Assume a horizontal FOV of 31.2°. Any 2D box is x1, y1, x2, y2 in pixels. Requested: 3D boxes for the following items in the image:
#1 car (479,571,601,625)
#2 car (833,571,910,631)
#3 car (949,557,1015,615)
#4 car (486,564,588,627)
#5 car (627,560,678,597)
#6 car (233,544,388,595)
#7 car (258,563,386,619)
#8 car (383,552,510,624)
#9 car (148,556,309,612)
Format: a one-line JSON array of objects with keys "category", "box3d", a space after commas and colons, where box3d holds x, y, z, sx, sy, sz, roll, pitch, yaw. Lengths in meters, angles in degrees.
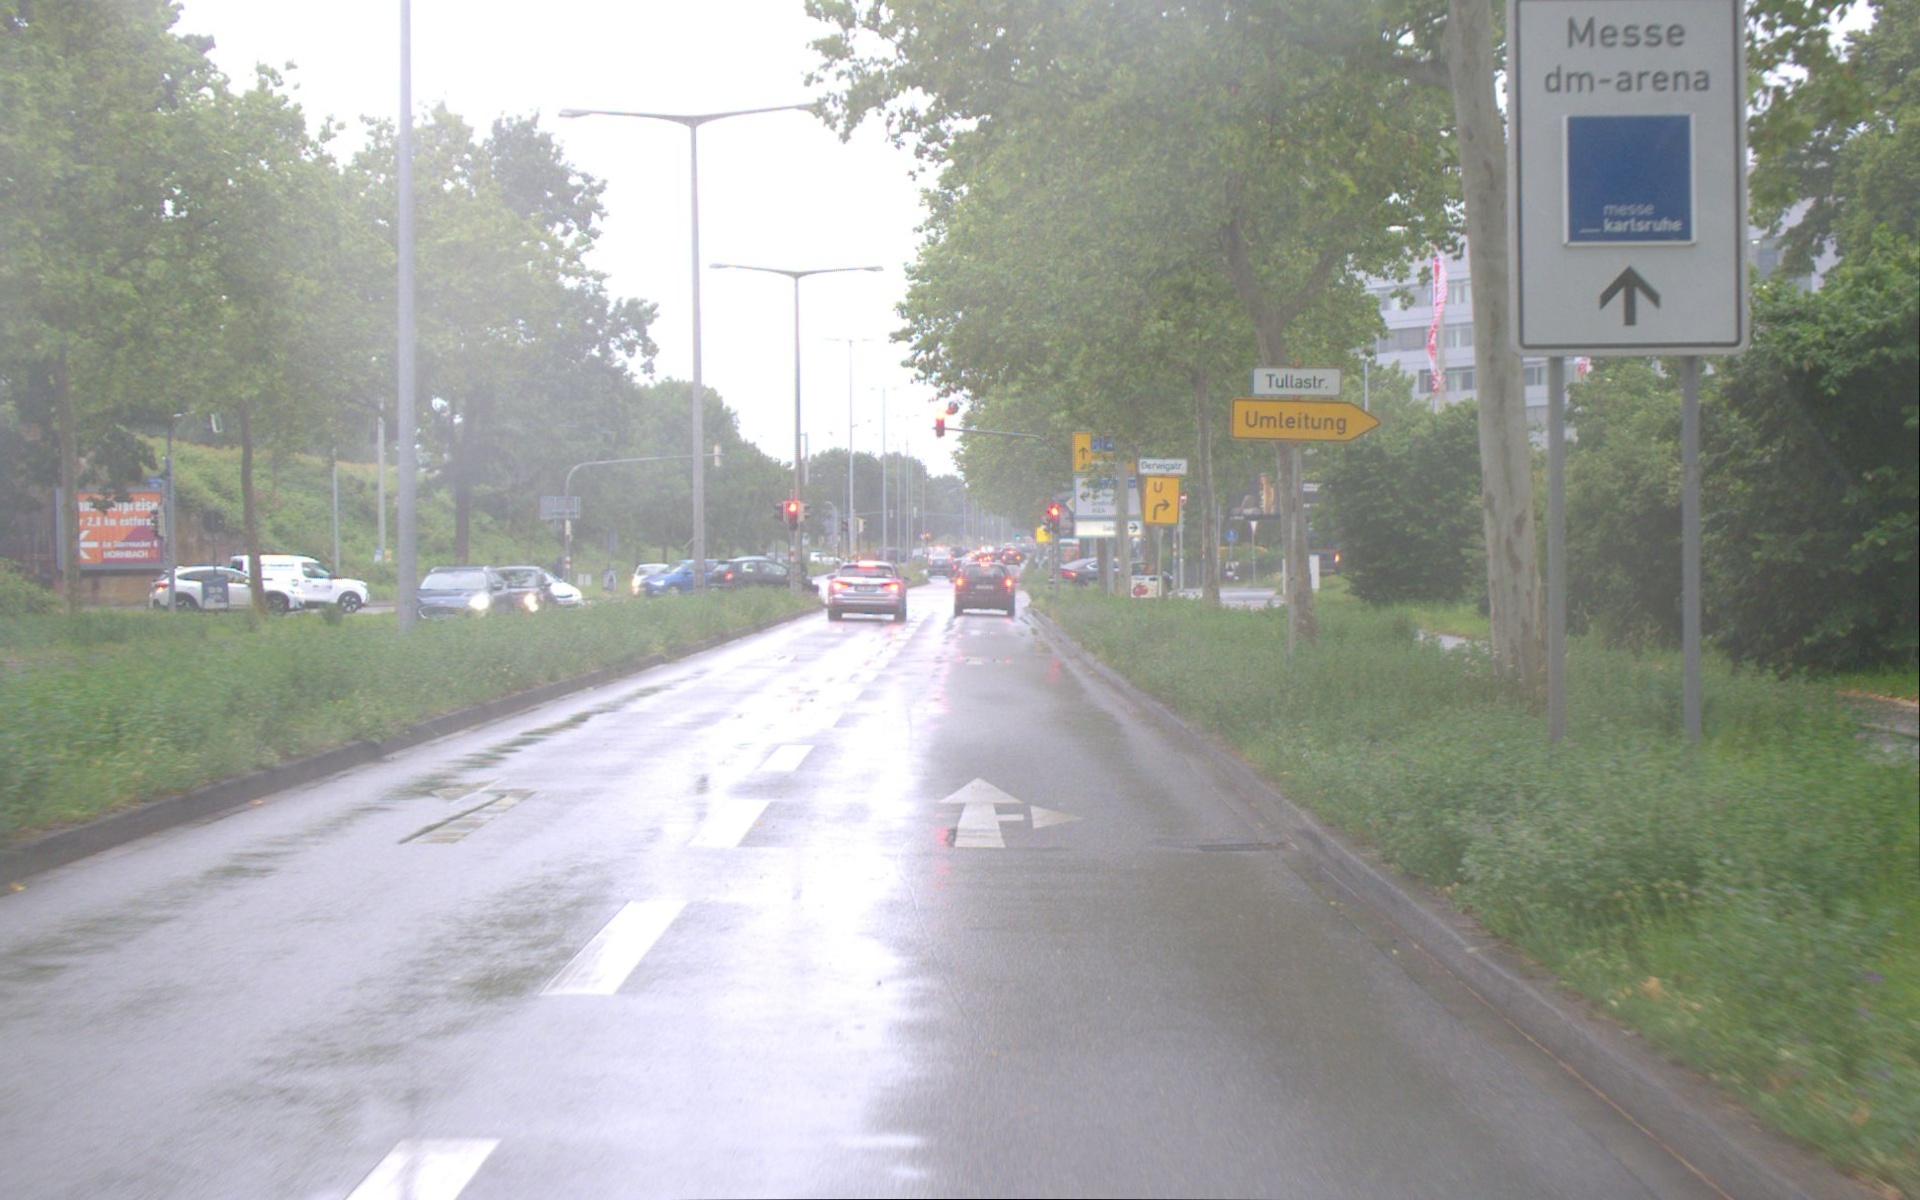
[{"category": "car", "box3d": [-11.725, -0.062, 95.729, 1.930, 1.440, 4.658, 0, 1, -26]}, {"category": "car", "box3d": [-2.150, 0.011, 84.438, 1.690, 1.428, 4.574, 1, 0, 1]}, {"category": "car", "box3d": [0.633, -0.398, 97.102, 1.796, 1.532, 4.387, 2, 0, 1]}, {"category": "car", "box3d": [-10.009, -0.126, 81.509, 1.931, 1.440, 3.707, 1, 1, 0]}, {"category": "car", "box3d": [-12.877, -0.923, 144.221, 1.712, 1.525, 4.000, 0, 1, 1]}, {"category": "car", "box3d": [-20.179, -0.954, 106.840, 4.372, 1.532, 1.802, -1, 0, -28]}, {"category": "car", "box3d": [-21.885, -0.303, 117.831, 3.986, 1.839, 2.001, 1, 0, -20]}, {"category": "car", "box3d": [-10.598, -0.263, 71.206, 1.931, 1.440, 4.496, 1, 1, 0]}, {"category": "car", "box3d": [-21.377, -0.462, 100.443, 4.502, 1.583, 1.863, -1, 0, -16]}]
